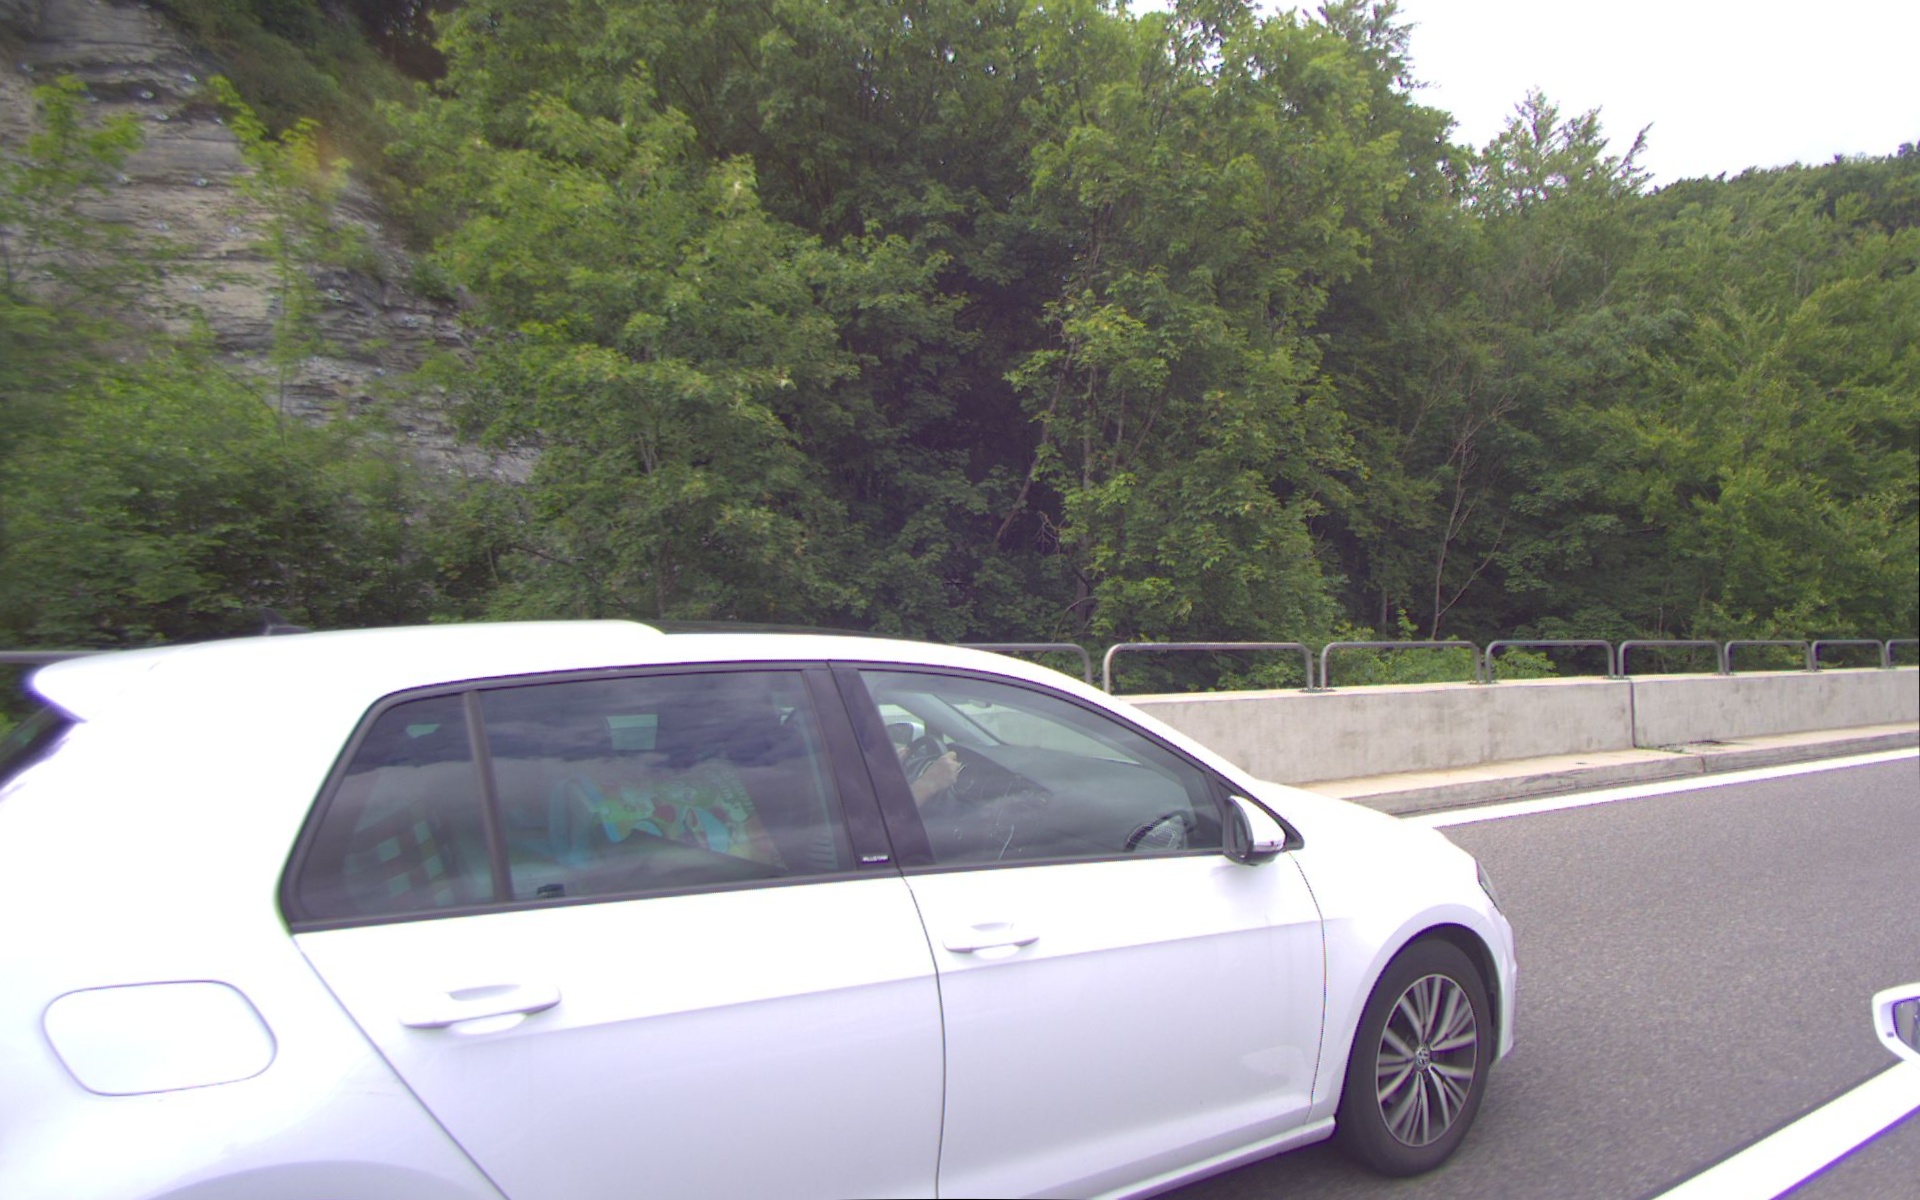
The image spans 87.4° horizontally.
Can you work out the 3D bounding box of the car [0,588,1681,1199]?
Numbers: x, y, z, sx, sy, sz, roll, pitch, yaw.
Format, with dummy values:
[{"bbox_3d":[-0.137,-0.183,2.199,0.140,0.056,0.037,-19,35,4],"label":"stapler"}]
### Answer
[{"bbox_3d":[-0.118,0.782,2.853,4.574,1.501,1.836,0,-2,-31],"label":"car"}]
